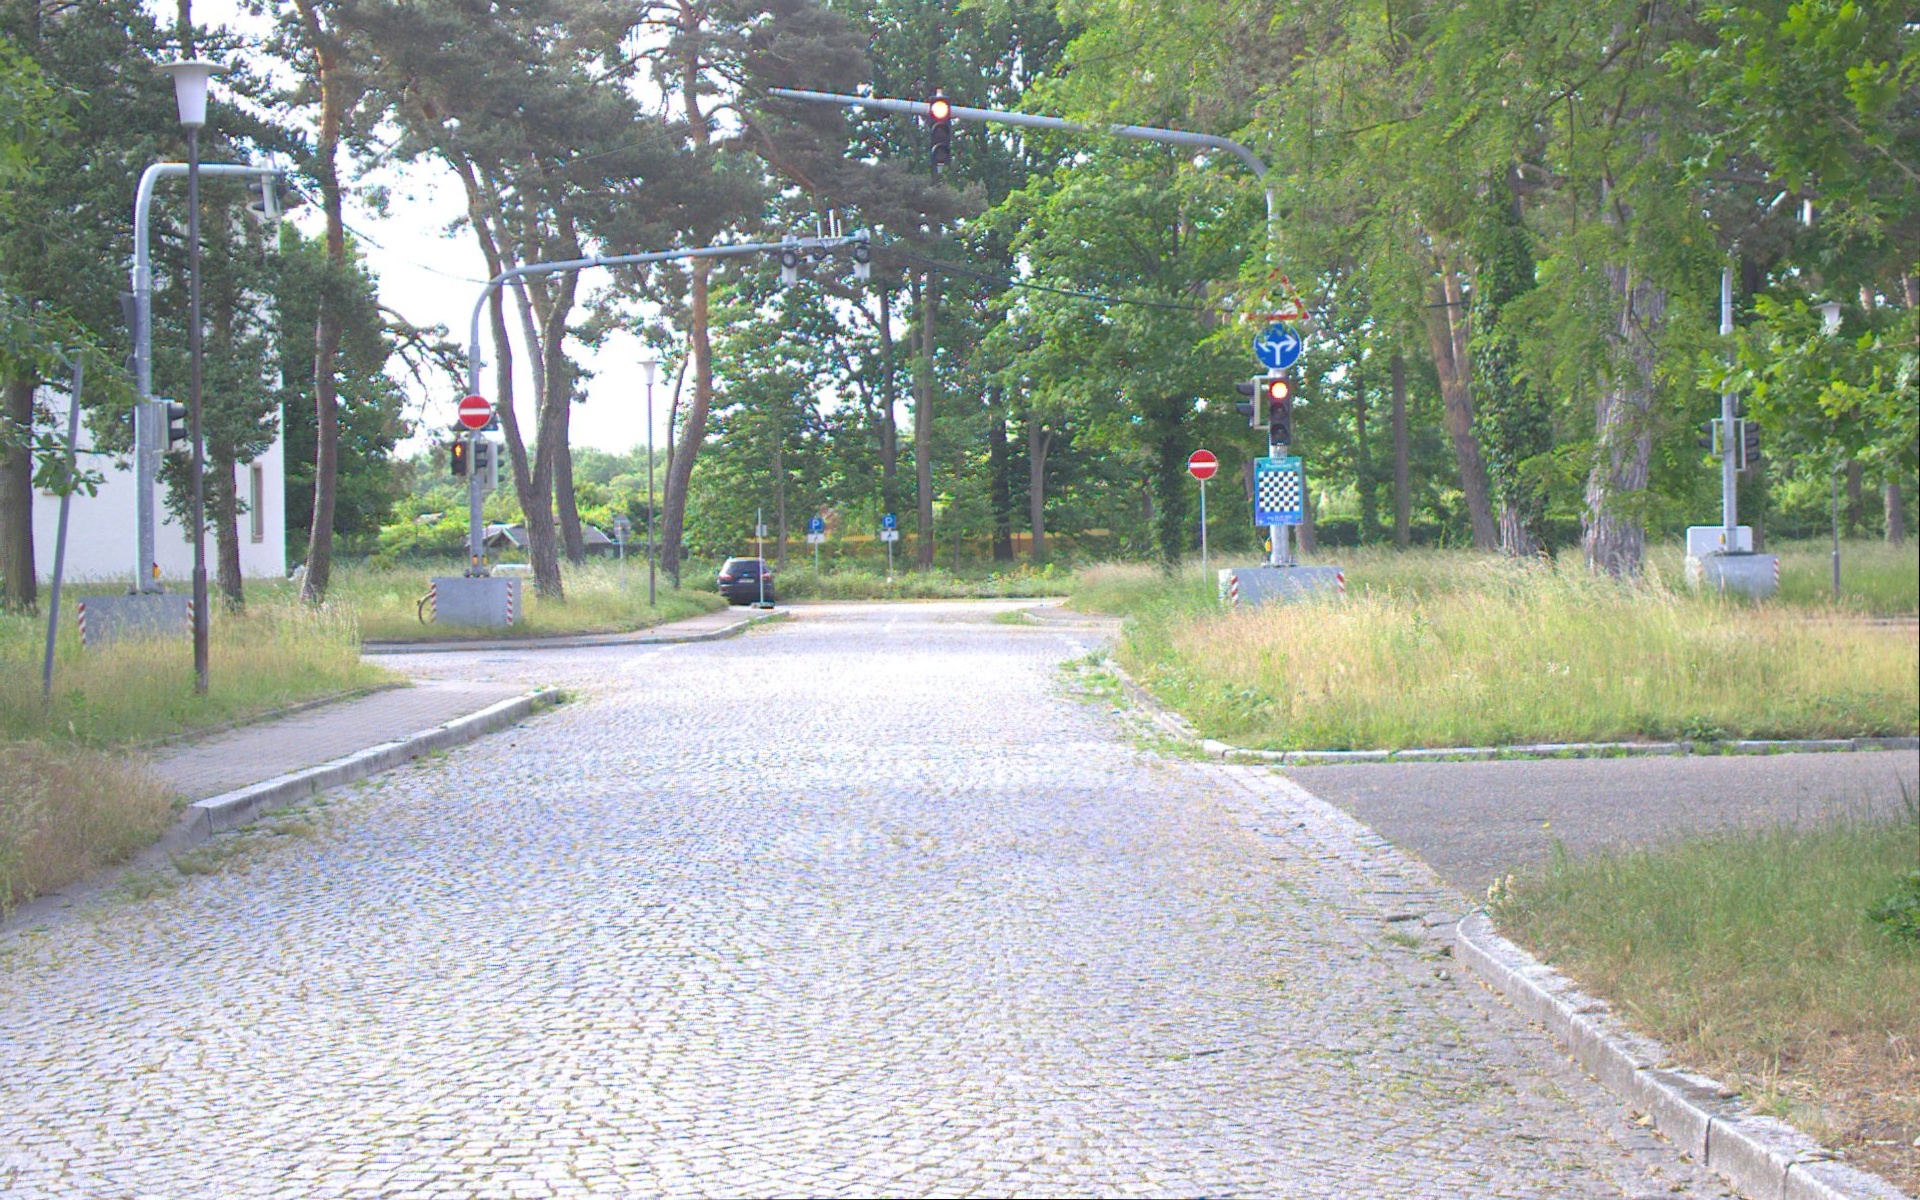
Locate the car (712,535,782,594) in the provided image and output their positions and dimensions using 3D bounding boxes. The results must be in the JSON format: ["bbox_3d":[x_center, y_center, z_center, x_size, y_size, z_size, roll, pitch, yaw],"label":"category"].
[{"bbox_3d":[-6.869,-1.164,111.306,2.056,1.840,4.000,-1,1,-1],"label":"car"}]
